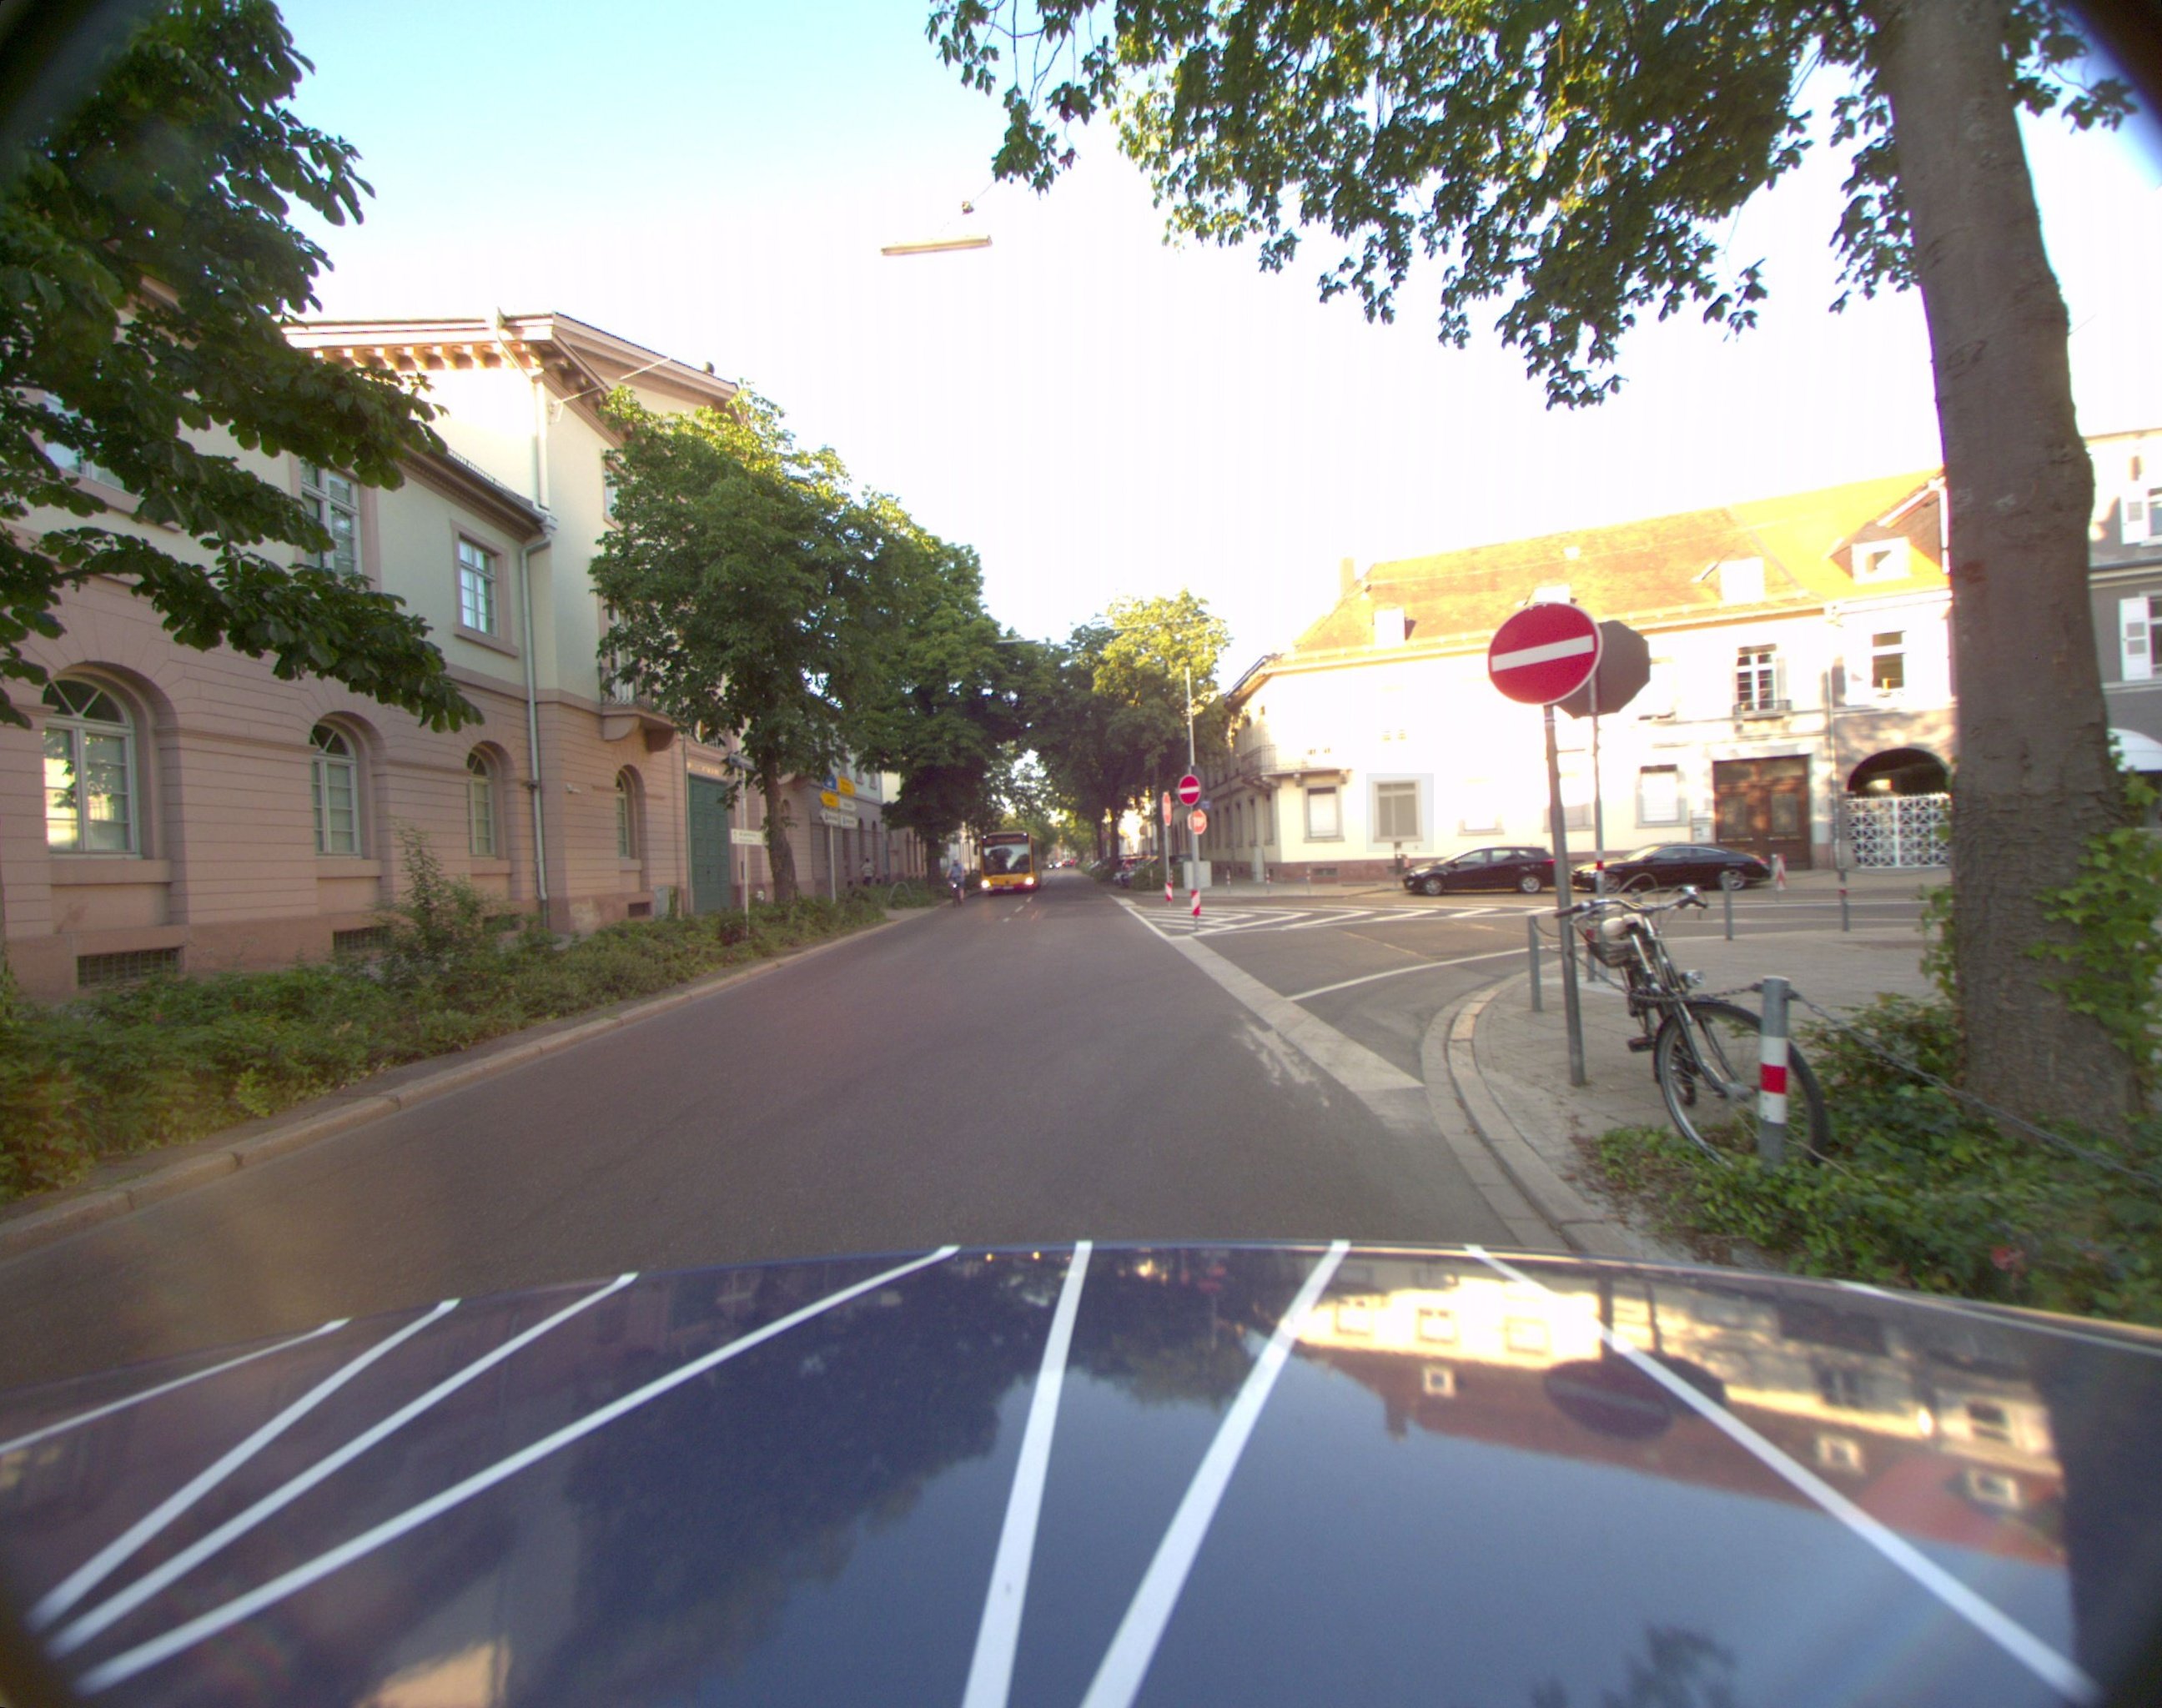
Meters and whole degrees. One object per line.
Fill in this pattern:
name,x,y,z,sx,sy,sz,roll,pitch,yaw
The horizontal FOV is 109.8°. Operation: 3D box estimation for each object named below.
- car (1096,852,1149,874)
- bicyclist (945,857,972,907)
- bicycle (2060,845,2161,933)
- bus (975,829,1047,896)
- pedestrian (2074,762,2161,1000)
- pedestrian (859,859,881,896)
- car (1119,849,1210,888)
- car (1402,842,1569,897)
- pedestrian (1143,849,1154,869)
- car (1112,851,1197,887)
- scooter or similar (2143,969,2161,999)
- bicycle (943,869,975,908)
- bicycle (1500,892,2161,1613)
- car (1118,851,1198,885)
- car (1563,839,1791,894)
car,3.299,0.708,60.666,3.998,1.606,1.723,-2,0,-3
bicyclist,-4.609,1.041,28.666,0.783,1.828,0.826,-4,0,-1
bicycle,14.205,0.440,9.770,1.799,1.119,0.730,-3,-3,30
bus,-3.531,0.415,41.614,2.711,2.983,12.081,-4,0,0
pedestrian,8.238,0.179,5.413,0.849,1.728,1.269,-4,-2,25
pedestrian,-10.622,1.167,38.304,0.800,1.821,0.929,-2,0,-3
car,3.903,0.665,35.829,3.998,1.605,1.828,-2,0,-3
car,12.459,0.491,23.764,4.421,1.532,1.810,-2,-1,22
pedestrian,6.200,0.483,69.808,0.894,1.760,1.021,-2,0,-2
car,3.642,0.728,38.222,3.998,1.606,1.723,-2,0,-3
scooter or similar,8.264,0.989,5.419,0.417,0.206,0.884,-3,-1,25
bicycle,-4.591,1.284,28.684,0.783,1.322,2.078,-4,0,-1
bicycle,2.353,0.840,2.729,0.844,1.260,2.575,-2,0,15
car,4.104,0.731,40.664,3.998,1.606,1.723,-2,0,-3
car,16.941,0.385,21.931,4.846,1.386,1.782,-2,-1,23
